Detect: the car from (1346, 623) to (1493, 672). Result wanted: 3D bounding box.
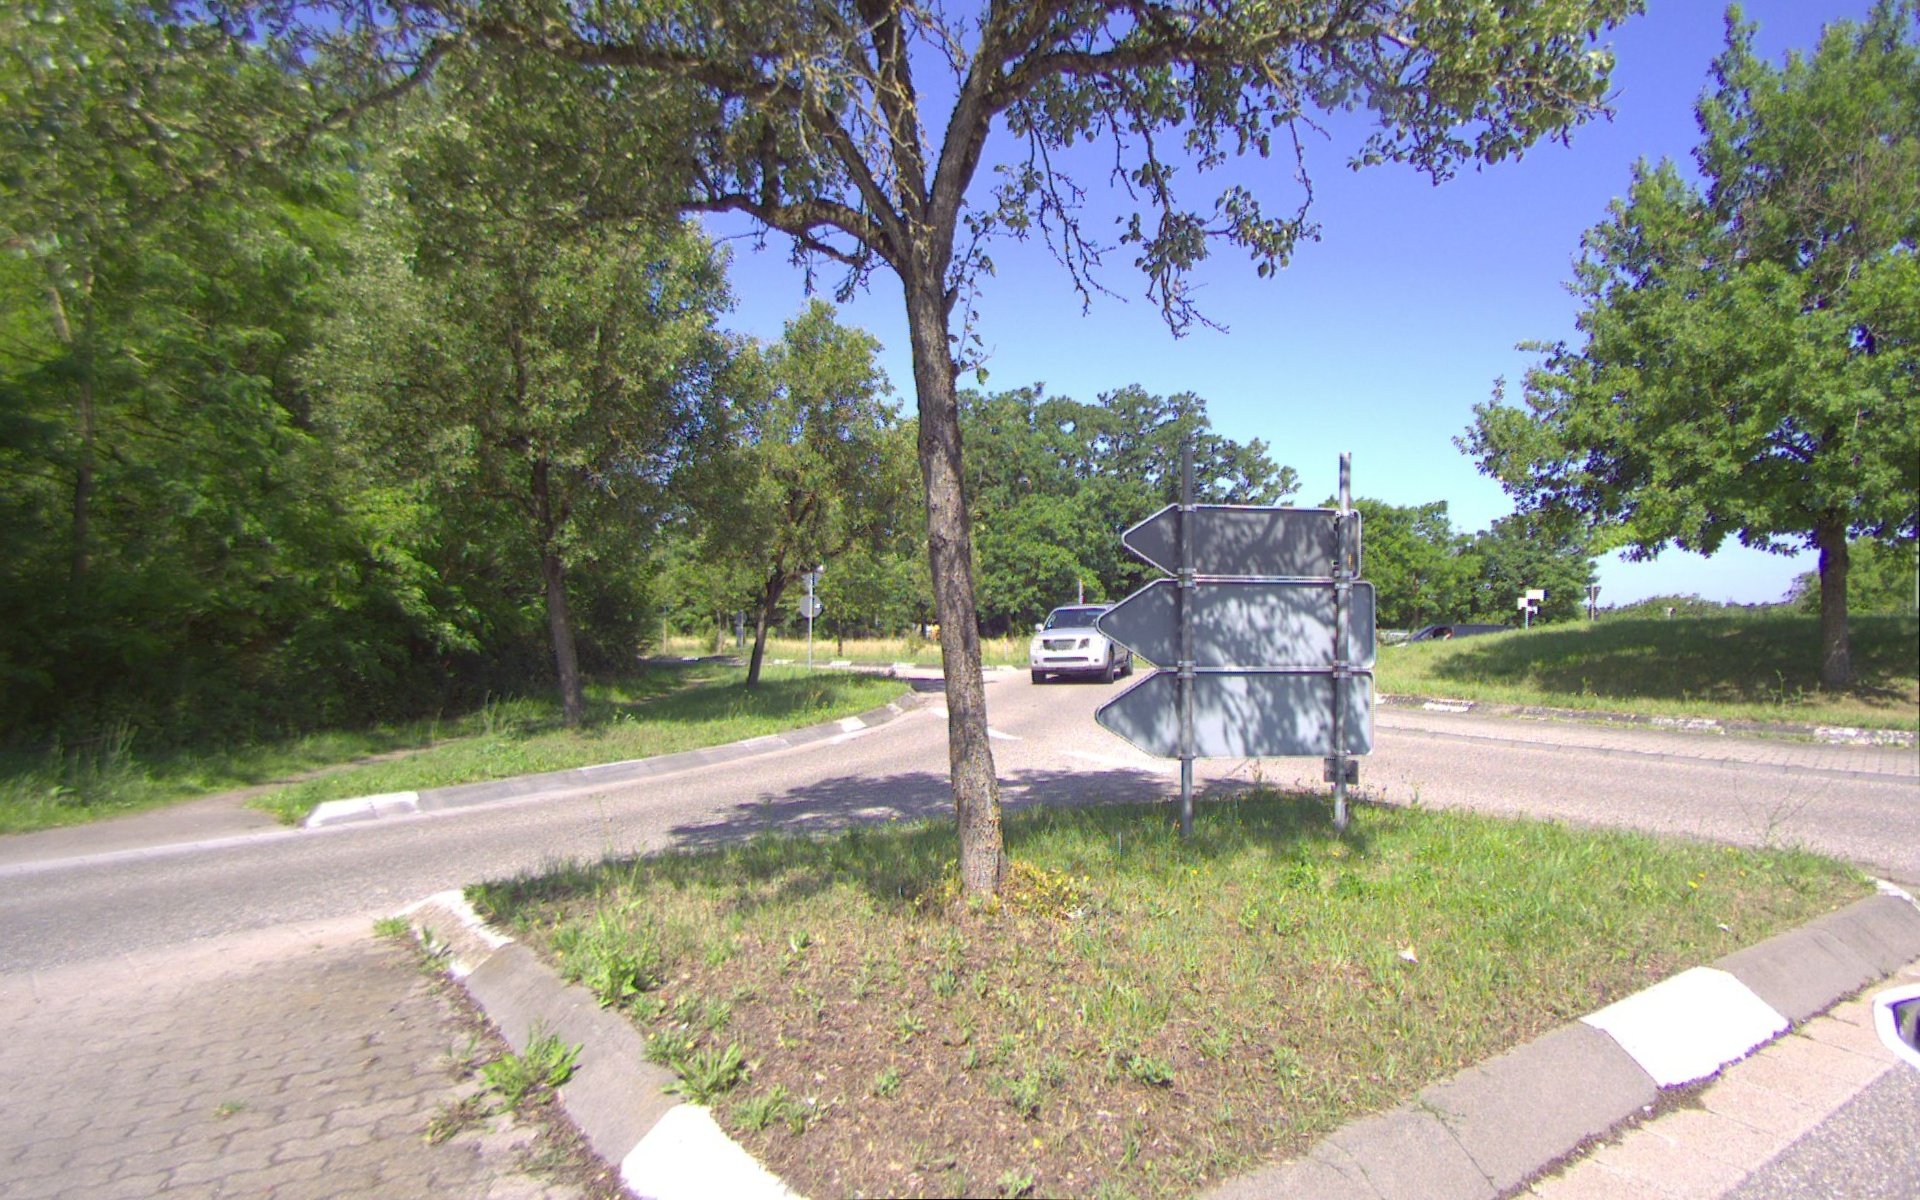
[{"bbox_3d":[16.893,1.721,37.157,4.622,1.737,2.103,0,-1,14],"label":"car"}]

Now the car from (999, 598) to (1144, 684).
[{"bbox_3d":[2.775,0.967,23.948,1.865,1.839,4.590,-1,-2,28],"label":"car"}]
